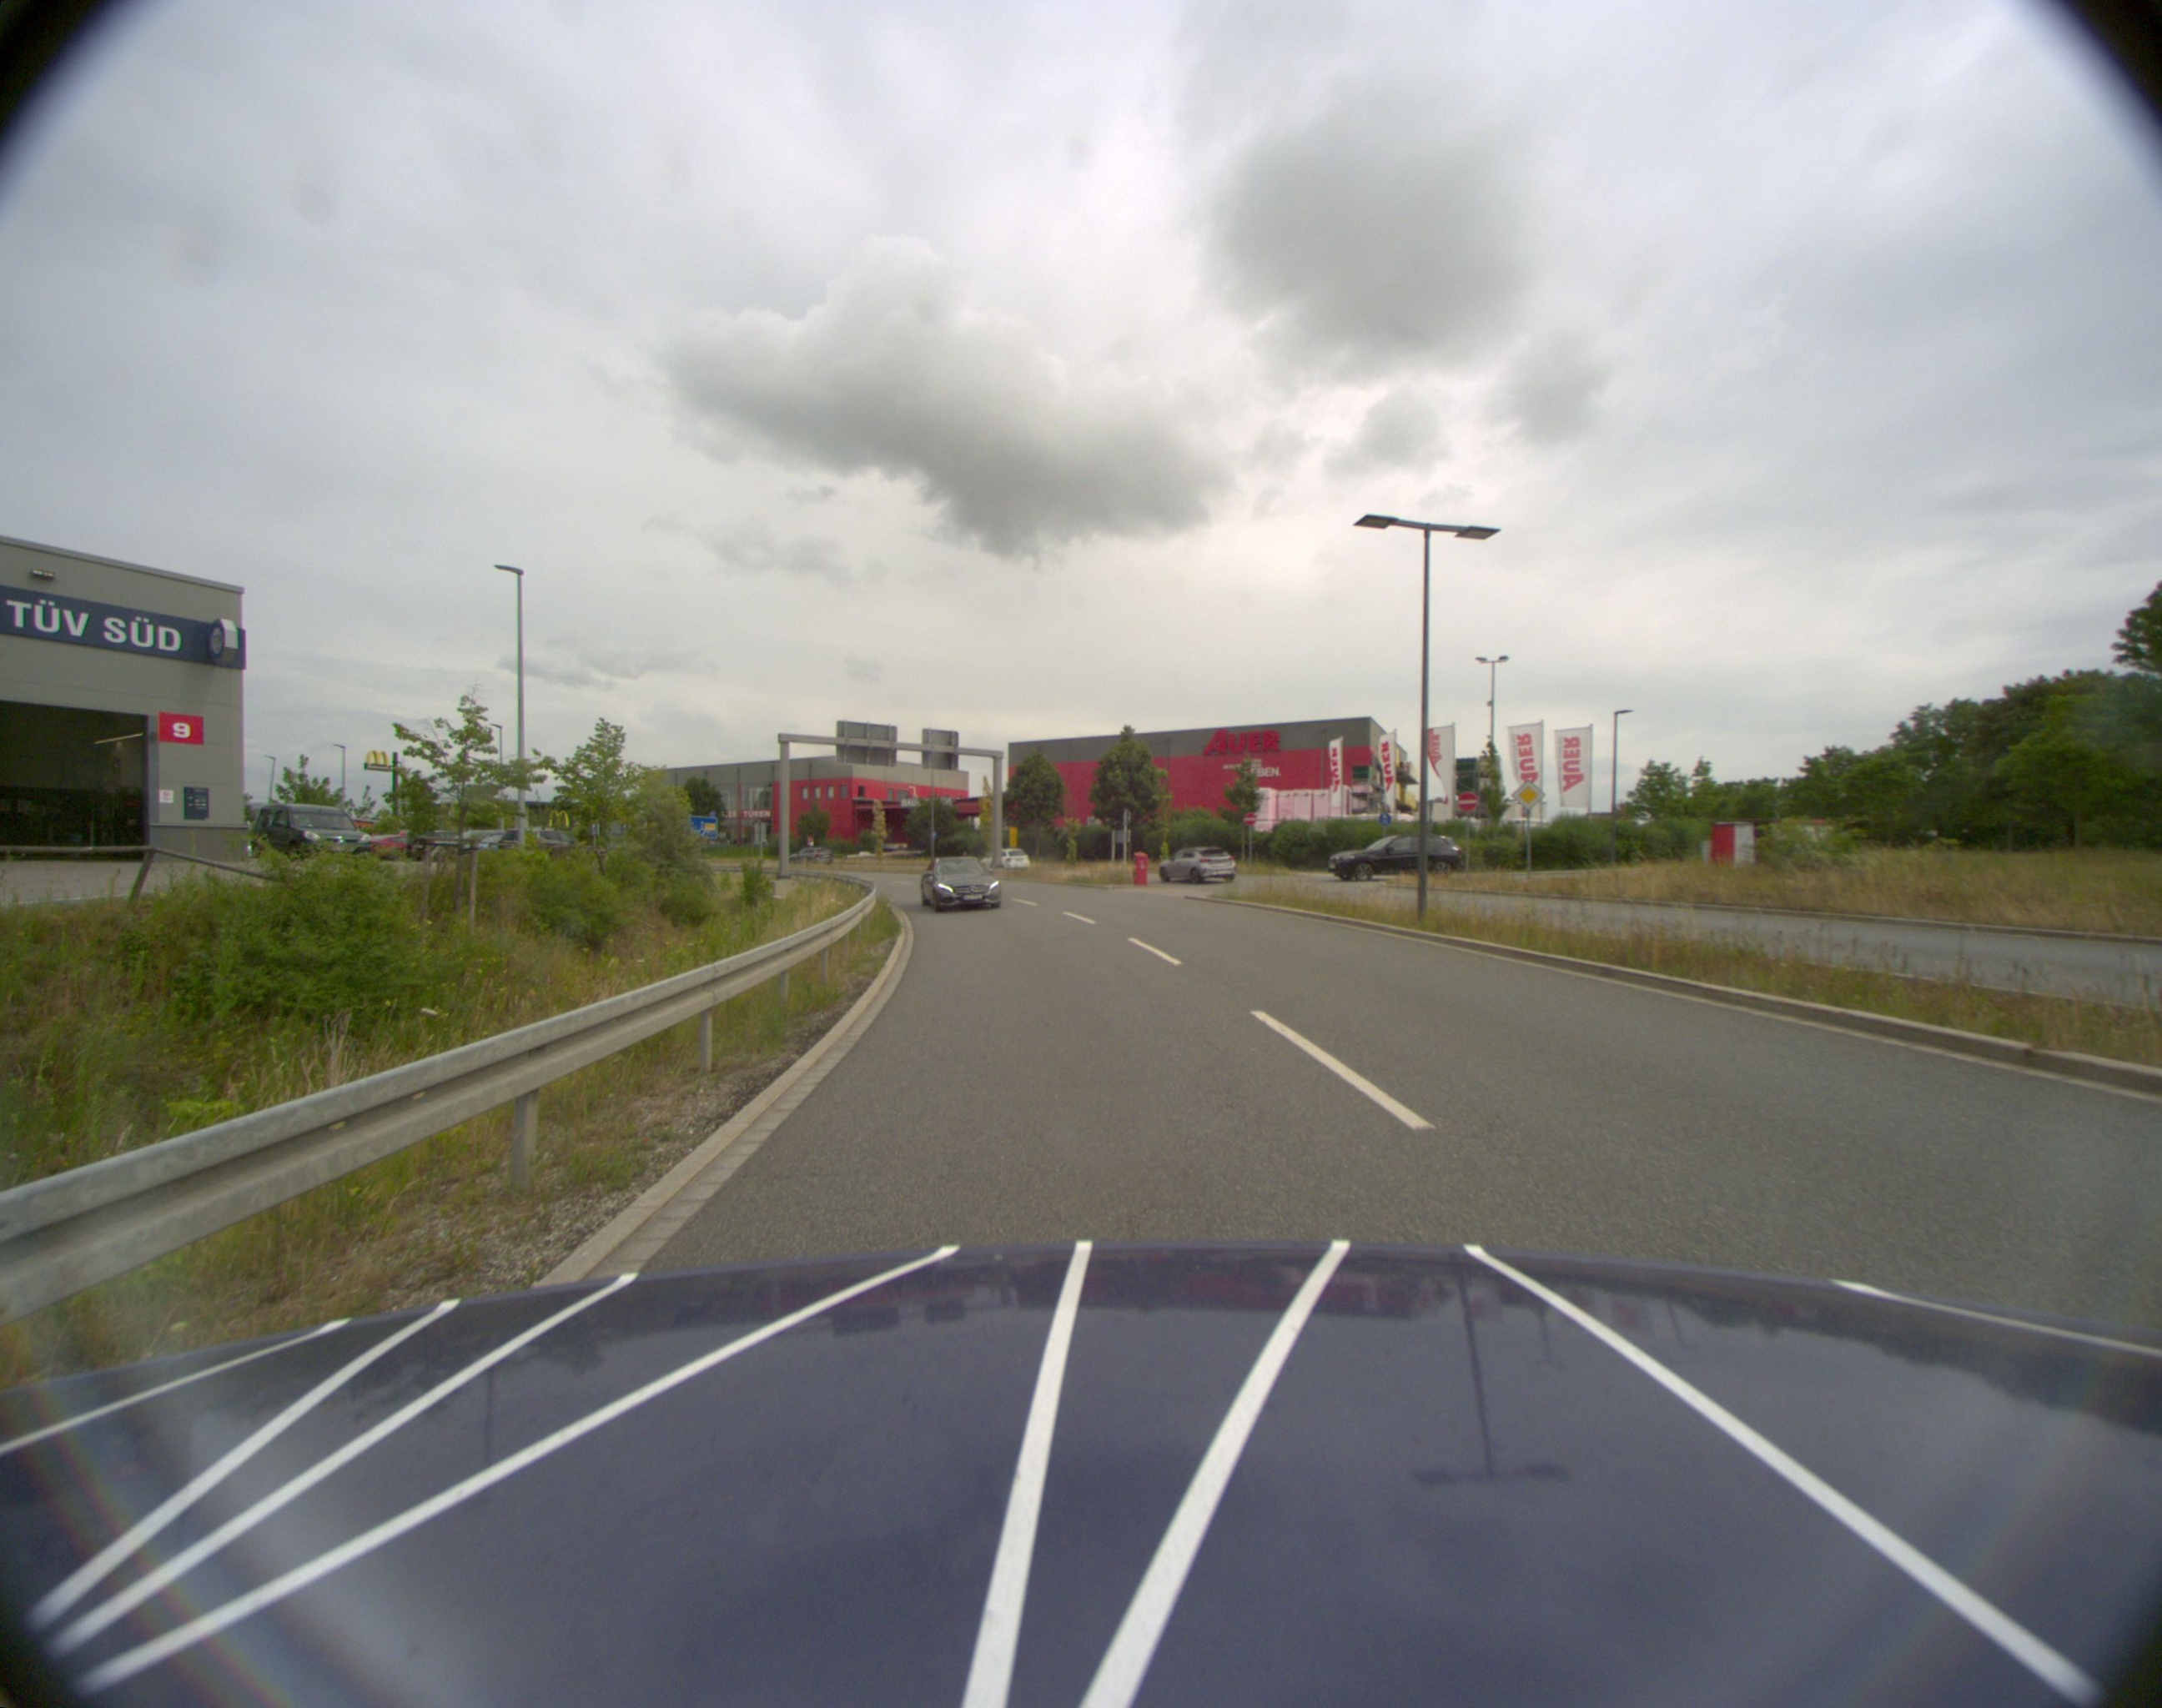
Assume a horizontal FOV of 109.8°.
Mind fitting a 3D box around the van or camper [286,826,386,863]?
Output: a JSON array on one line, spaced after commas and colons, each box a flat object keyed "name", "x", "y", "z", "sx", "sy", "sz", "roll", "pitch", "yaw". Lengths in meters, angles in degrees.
[{"name": "van or camper", "x": -42.331, "y": -0.545, "z": 43.335, "sx": 1.814, "sy": 1.986, "sz": 4.670, "roll": -1, "pitch": 1, "yaw": -13}]

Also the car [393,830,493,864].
[{"name": "car", "x": -32.573, "y": -0.412, "z": 38.955, "sx": 1.690, "sy": 1.511, "sz": 3.793, "roll": -1, "pitch": 4, "yaw": 3}]

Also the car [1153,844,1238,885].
[{"name": "car", "x": 4.608, "y": 0.398, "z": 31.169, "sx": 1.465, "sy": 1.478, "sz": 4.087, "roll": -4, "pitch": 2, "yaw": -23}]

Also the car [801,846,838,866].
[{"name": "car", "x": -23.082, "y": 0.183, "z": 66.938, "sx": 1.818, "sy": 1.620, "sz": 4.674, "roll": -4, "pitch": 2, "yaw": -35}]

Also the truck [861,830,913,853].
[{"name": "truck", "x": -22.485, "y": -1.458, "z": 87.927, "sx": 5.891, "sy": 2.474, "sz": 2.043, "roll": 0, "pitch": 3, "yaw": 29}]

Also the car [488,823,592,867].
[{"name": "car", "x": -24.657, "y": -0.474, "z": 34.841, "sx": 1.803, "sy": 1.773, "sz": 4.166, "roll": -2, "pitch": 3, "yaw": -2}]

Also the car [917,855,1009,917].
[{"name": "car", "x": -3.558, "y": 0.848, "z": 22.195, "sx": 1.909, "sy": 1.489, "sz": 4.332, "roll": -4, "pitch": 1, "yaw": -18}]

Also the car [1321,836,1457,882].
[{"name": "car", "x": 11.305, "y": 0.170, "z": 28.062, "sx": 4.253, "sy": 1.541, "sz": 1.873, "roll": -1, "pitch": 1, "yaw": -3}]

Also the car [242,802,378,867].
[{"name": "car", "x": -23.205, "y": -0.546, "z": 22.855, "sx": 3.960, "sy": 1.800, "sz": 1.709, "roll": 1, "pitch": -1, "yaw": 27}]

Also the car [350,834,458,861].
[{"name": "car", "x": -37.257, "y": -0.385, "z": 42.000, "sx": 1.702, "sy": 1.392, "sz": 4.589, "roll": 1, "pitch": 1, "yaw": 3}]

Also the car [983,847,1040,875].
[{"name": "car", "x": -4.320, "y": 0.407, "z": 46.631, "sx": 1.723, "sy": 1.625, "sz": 4.256, "roll": -1, "pitch": 1, "yaw": -32}]
